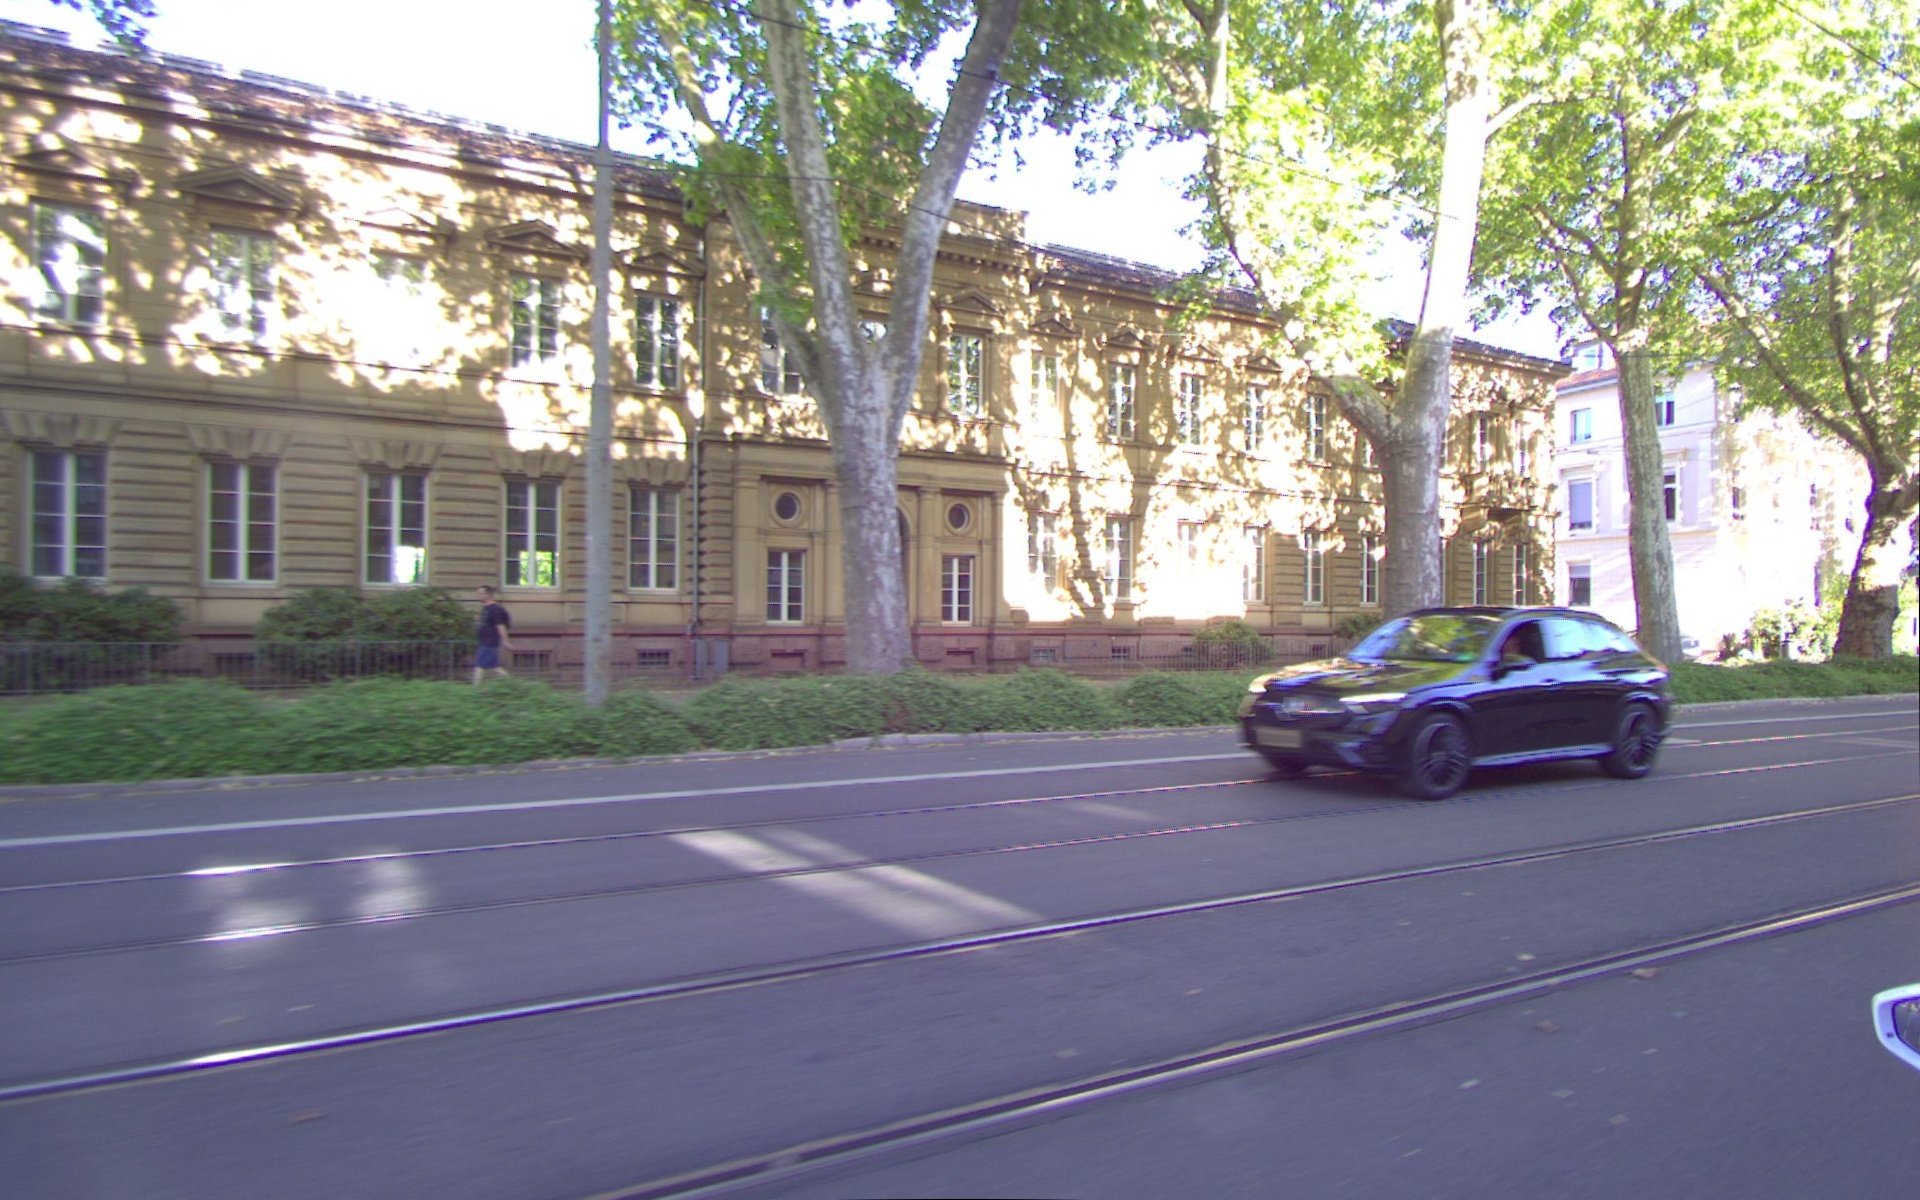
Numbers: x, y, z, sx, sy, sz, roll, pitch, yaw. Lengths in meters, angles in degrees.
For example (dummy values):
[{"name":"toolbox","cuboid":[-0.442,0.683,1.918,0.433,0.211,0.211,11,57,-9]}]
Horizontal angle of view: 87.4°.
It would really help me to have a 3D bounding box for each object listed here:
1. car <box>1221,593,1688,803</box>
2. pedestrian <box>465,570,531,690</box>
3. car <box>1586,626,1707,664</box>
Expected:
[{"name":"car","cuboid":[4.895,0.811,9.828,4.503,1.651,1.859,1,-1,-29]},{"name":"pedestrian","cuboid":[-7.450,0.480,16.203,0.829,1.874,0.714,1,-1,-35]},{"name":"car","cuboid":[28.181,1.814,41.349,1.672,1.437,3.763,-2,0,-27]}]
